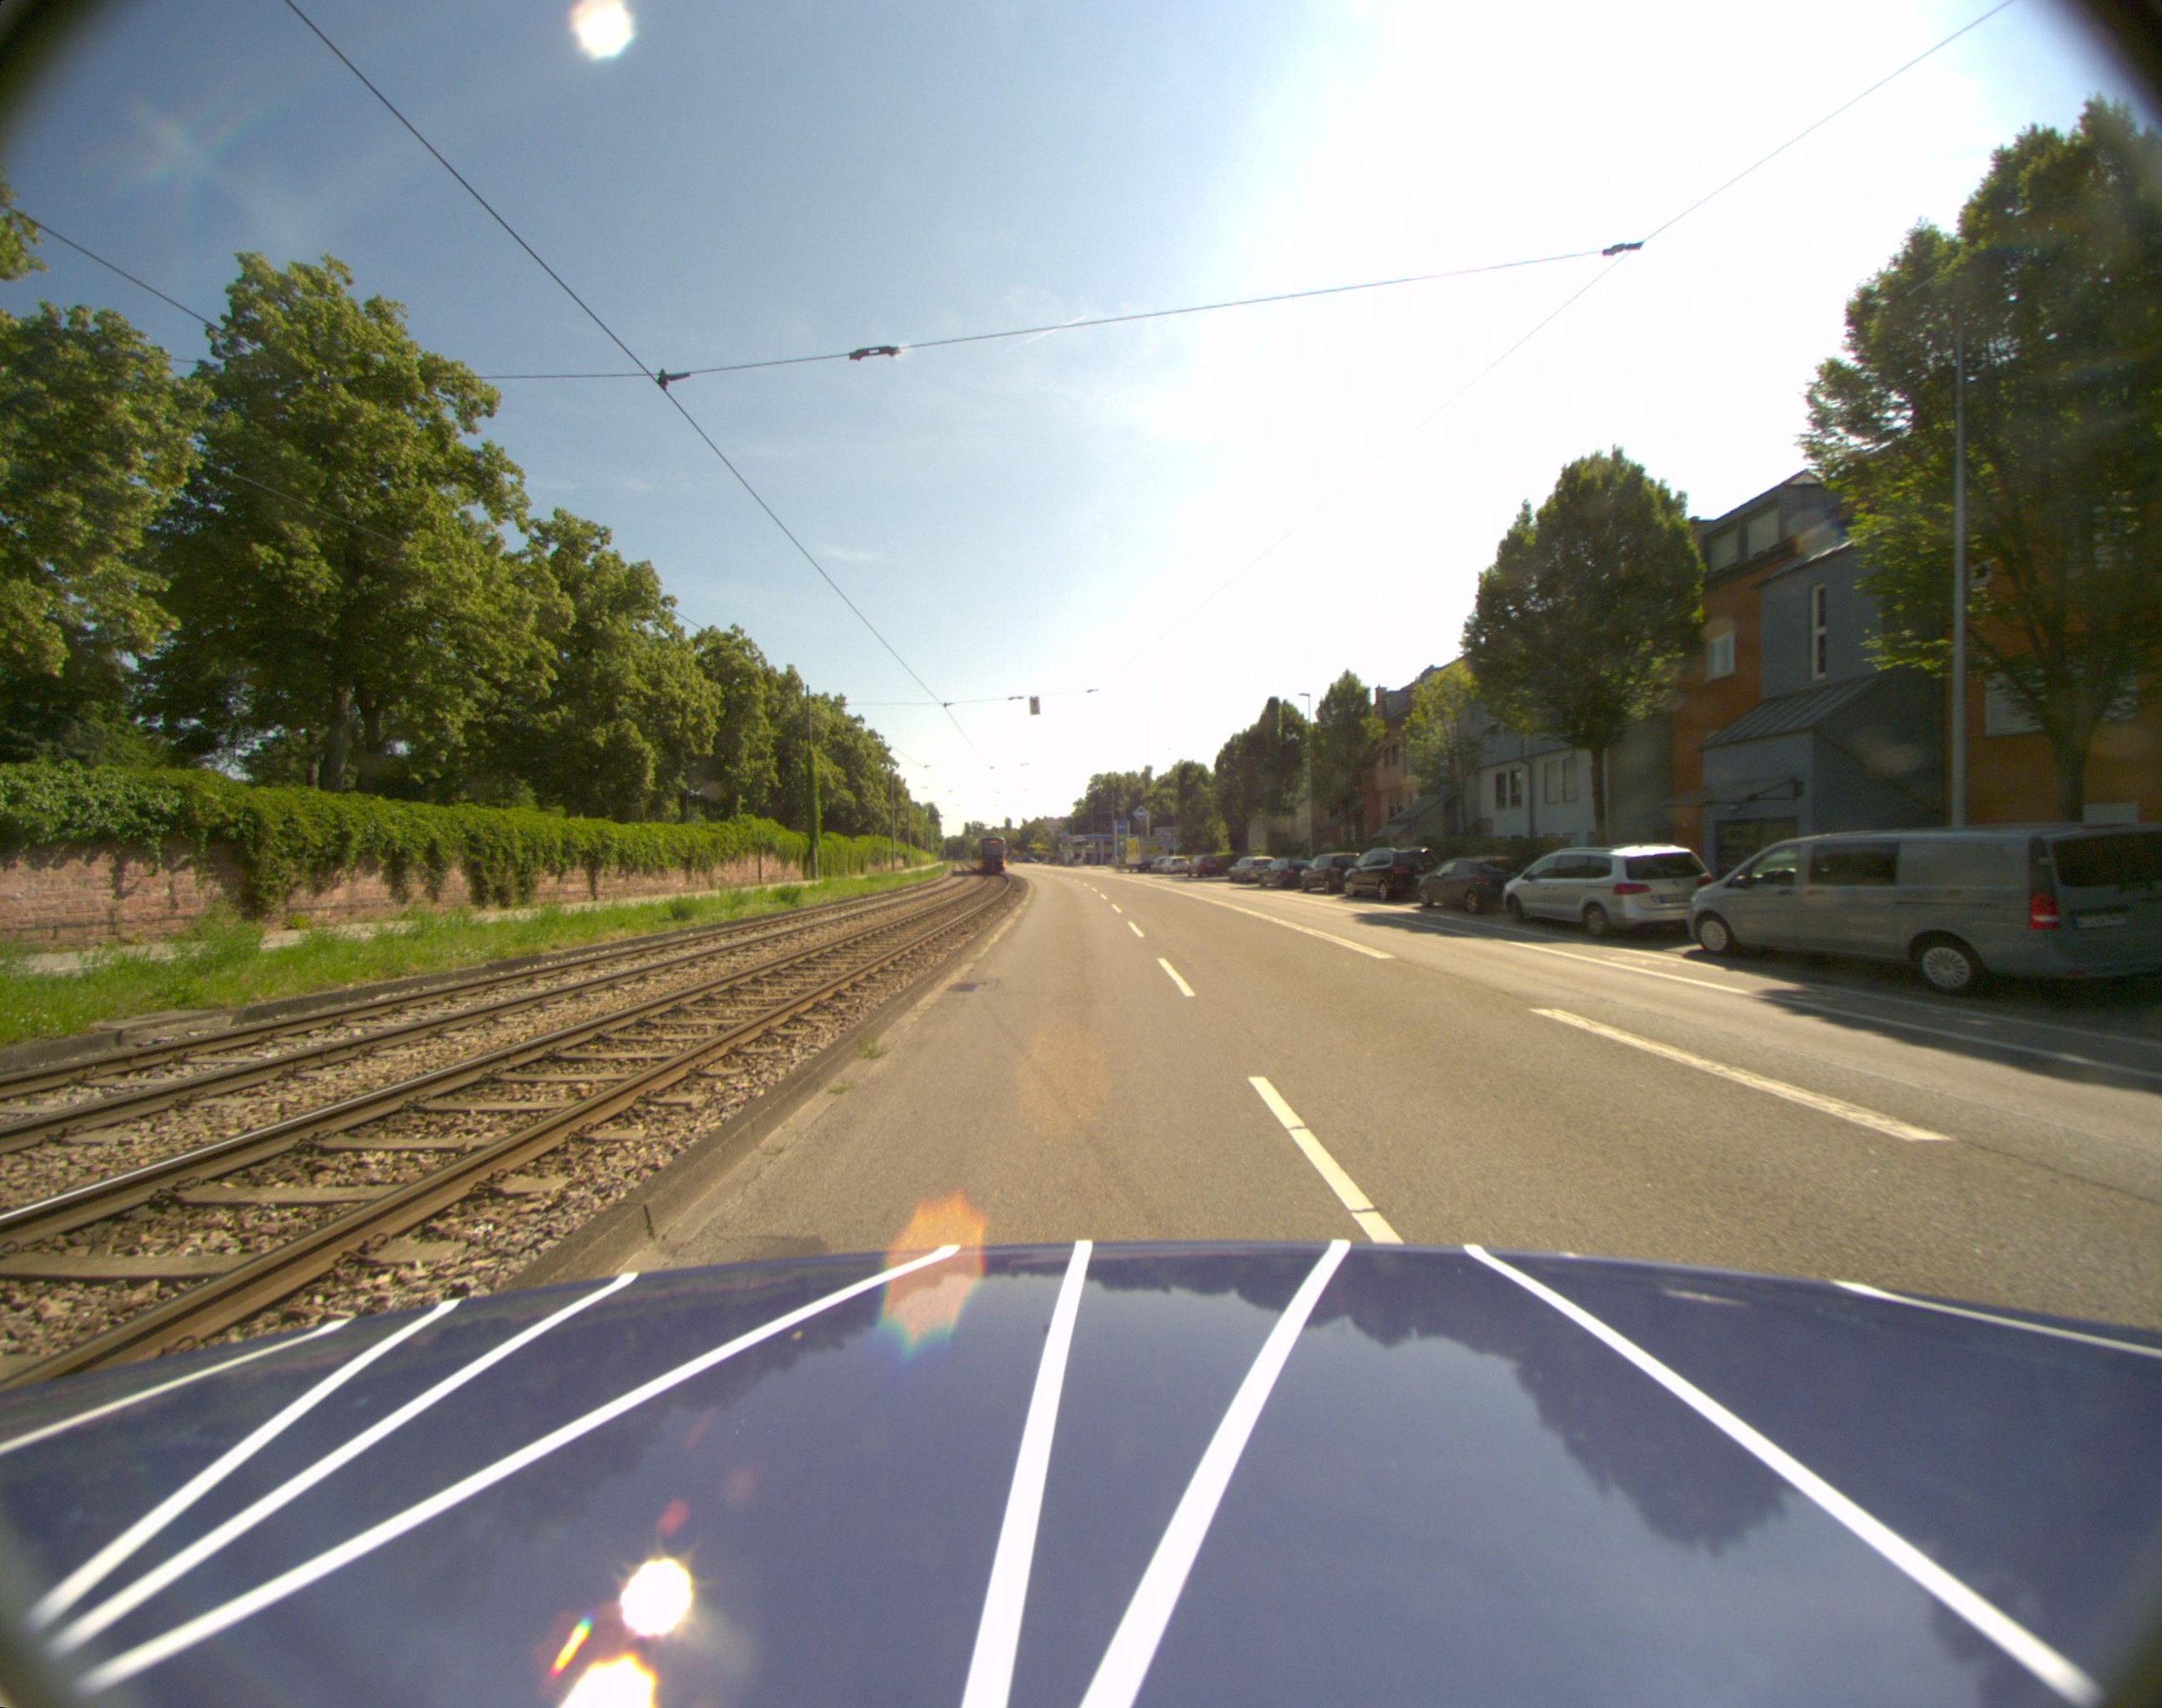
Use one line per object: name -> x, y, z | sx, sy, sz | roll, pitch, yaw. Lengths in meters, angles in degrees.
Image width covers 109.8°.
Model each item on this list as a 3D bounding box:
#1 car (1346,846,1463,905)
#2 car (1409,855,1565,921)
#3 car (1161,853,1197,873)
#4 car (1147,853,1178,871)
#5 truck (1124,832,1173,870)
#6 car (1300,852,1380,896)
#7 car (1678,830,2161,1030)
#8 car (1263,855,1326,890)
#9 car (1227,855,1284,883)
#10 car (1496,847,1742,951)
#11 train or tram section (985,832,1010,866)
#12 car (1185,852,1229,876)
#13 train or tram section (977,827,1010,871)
car -> 10.712, 0.630, 25.529 | 1.834, 1.718, 4.348 | -3, 1, -3
car -> 10.915, 0.833, 20.806 | 1.871, 1.447, 4.074 | -4, 1, -3
car -> 8.037, 0.736, 62.906 | 2.040, 1.490, 4.130 | -2, 1, -6
car -> 7.218, 0.672, 67.788 | 1.915, 1.469, 4.213 | -2, 1, -6
truck -> 6.518, -0.294, 75.204 | 3.165, 3.534, 8.779 | -1, 0, -6
car -> 10.546, 0.747, 31.242 | 1.681, 1.598, 4.164 | -2, 1, -3
car -> 10.878, 0.734, 10.038 | 1.998, 1.855, 4.966 | -5, 0, 1
car -> 10.288, 0.850, 36.909 | 1.681, 1.462, 4.212 | -2, 1, -3
car -> 9.971, 0.822, 43.761 | 1.682, 1.437, 4.835 | -2, 1, -6
car -> 10.738, 0.771, 15.685 | 1.852, 1.693, 4.540 | -4, 1, 1
train or tram section -> -10.171, -0.576, 94.044 | 2.722, 3.716, 18.868 | -2, 0, -5
car -> 9.066, 0.701, 54.988 | 1.911, 1.567, 4.929 | -2, 1, -6
train or tram section -> -8.489, -0.480, 75.271 | 2.722, 3.716, 18.868 | -2, 0, -5
